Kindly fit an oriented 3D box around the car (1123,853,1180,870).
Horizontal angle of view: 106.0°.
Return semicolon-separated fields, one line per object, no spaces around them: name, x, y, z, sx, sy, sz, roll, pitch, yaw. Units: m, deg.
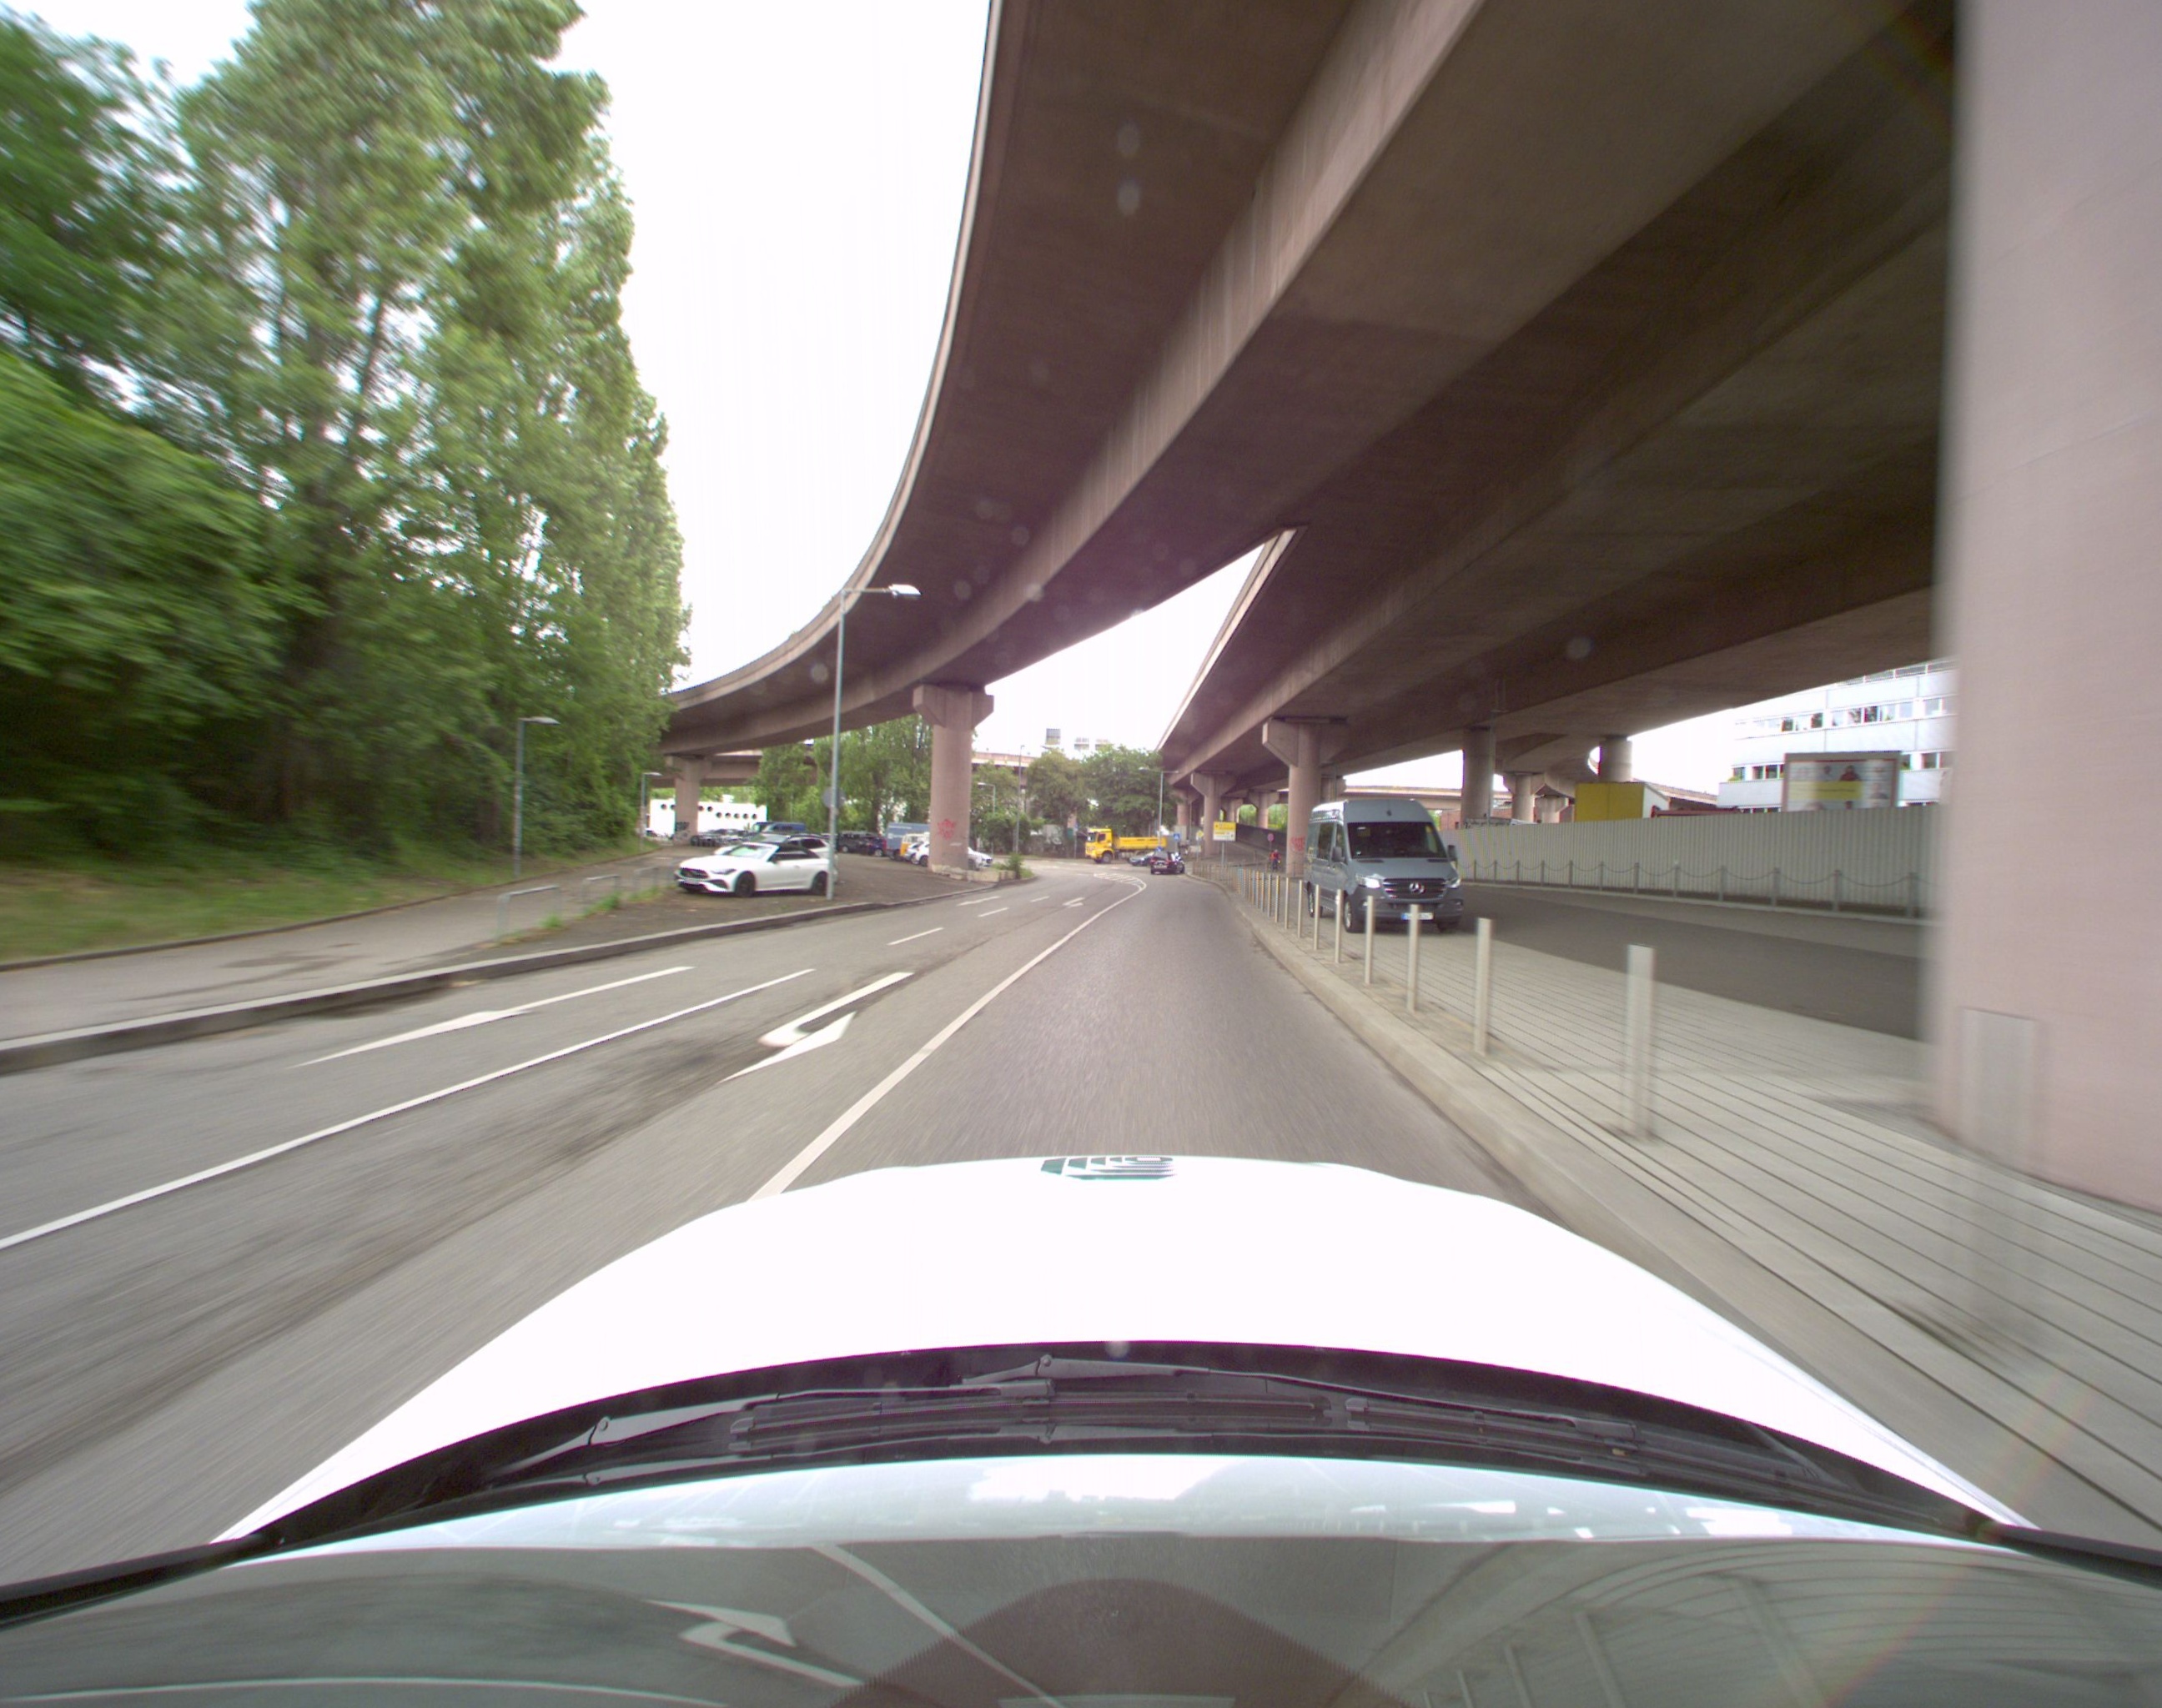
car;6.545;0.697;75.377;4.950;1.502;2.151;0;0;-33

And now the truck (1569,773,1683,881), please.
truck;25.818;-1.120;38.308;3.108;4.443;9.785;0;0;42

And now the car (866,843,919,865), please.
car;-14.810;-0.005;64.157;3.987;1.740;2.014;0;0;-10

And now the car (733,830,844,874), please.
car;-11.947;-0.051;33.560;1.840;1.691;4.187;2;0;25

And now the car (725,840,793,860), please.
car;-24.130;-0.298;61.274;1.975;1.435;4.672;0;0;25

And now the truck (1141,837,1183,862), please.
truck;10.290;-0.637;103.968;2.925;2.898;6.516;0;2;-20

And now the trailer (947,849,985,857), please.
trailer;-15.504;-0.125;109.766;2.167;0.743;6.222;-3;4;-38

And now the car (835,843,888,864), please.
car;-17.818;-0.039;66.369;3.987;1.730;1.993;0;0;-10

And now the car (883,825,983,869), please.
car;-10.025;-0.488;55.336;6.143;2.724;2.372;2;0;7

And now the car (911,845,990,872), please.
car;-7.966;0.264;49.801;4.216;1.371;2.007;4;1;12

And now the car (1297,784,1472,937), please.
car;6.033;0.099;17.082;1.983;2.613;6.084;0;0;6

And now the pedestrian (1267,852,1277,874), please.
pedestrian;14.832;0.692;63.289;0.536;1.676;0.556;-1;1;-11

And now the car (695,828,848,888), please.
car;-9.767;0.189;26.121;1.977;1.582;4.423;5;0;22

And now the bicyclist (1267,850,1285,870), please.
bicyclist;14.394;0.447;60.046;0.801;1.405;1.056;0;0;-29

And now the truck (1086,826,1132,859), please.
truck;3.394;-1.465;101.230;3.075;3.867;7.997;0;2;-20

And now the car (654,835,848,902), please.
car;-8.770;0.446;22.222;1.977;1.480;4.853;5;-1;22

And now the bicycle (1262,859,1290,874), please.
bicycle;14.390;0.891;60.063;0.807;1.097;2.111;0;0;-29

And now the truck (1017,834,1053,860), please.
truck;-6.908;-1.120;121.791;3.067;3.618;7.860;0;2;-21

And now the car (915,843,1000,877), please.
car;-7.070;0.323;46.761;4.350;1.605;1.962;4;1;14

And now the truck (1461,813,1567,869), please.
truck;25.904;-0.789;48.436;3.108;2.944;8.769;-3;-1;44

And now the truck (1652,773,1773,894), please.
truck;25.561;-0.702;32.697;2.862;4.183;10.126;0;0;43

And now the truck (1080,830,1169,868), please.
truck;4.330;-0.530;80.700;8.249;3.480;2.917;0;4;-22

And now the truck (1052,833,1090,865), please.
truck;-1.380;-0.576;105.513;3.074;3.963;6.881;1;0;-18

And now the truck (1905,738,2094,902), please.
truck;27.989;-0.853;25.299;2.778;4.158;9.990;0;0;42

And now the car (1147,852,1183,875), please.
car;6.271;0.688;60.344;1.979;1.679;4.579;0;0;15

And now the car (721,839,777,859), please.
car;-26.038;-0.393;64.079;1.772;1.474;3.909;0;0;24

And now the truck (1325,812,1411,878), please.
truck;23.024;-0.664;64.932;3.109;4.917;8.769;1;0;43

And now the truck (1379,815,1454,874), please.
truck;29.761;-0.732;72.041;3.109;4.903;8.769;1;0;43

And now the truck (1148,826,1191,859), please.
truck;11.933;-1.625;110.830;3.071;4.299;8.008;0;2;-15

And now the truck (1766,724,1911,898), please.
truck;25.520;-1.215;27.660;3.108;4.924;9.785;0;0;42

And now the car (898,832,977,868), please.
car;-9.239;-0.270;52.561;4.529;2.111;1.855;2;0;9

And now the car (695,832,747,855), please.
car;-31.341;-0.879;71.086;1.640;1.712;4.101;4;-1;19

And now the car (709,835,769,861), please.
car;-27.781;-0.484;66.315;1.824;1.800;4.328;-1;4;25

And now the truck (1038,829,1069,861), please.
truck;-4.315;-1.434;125.512;3.208;4.779;8.010;0;2;-15

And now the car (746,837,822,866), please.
car;-18.088;-0.171;49.765;1.877;1.675;4.179;0;0;27

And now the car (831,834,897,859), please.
car;-19.045;-0.648;71.763;5.065;2.072;2.262;1;-1;5

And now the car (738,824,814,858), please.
car;-21.052;-0.837;56.456;2.099;2.254;5.045;0;0;22
